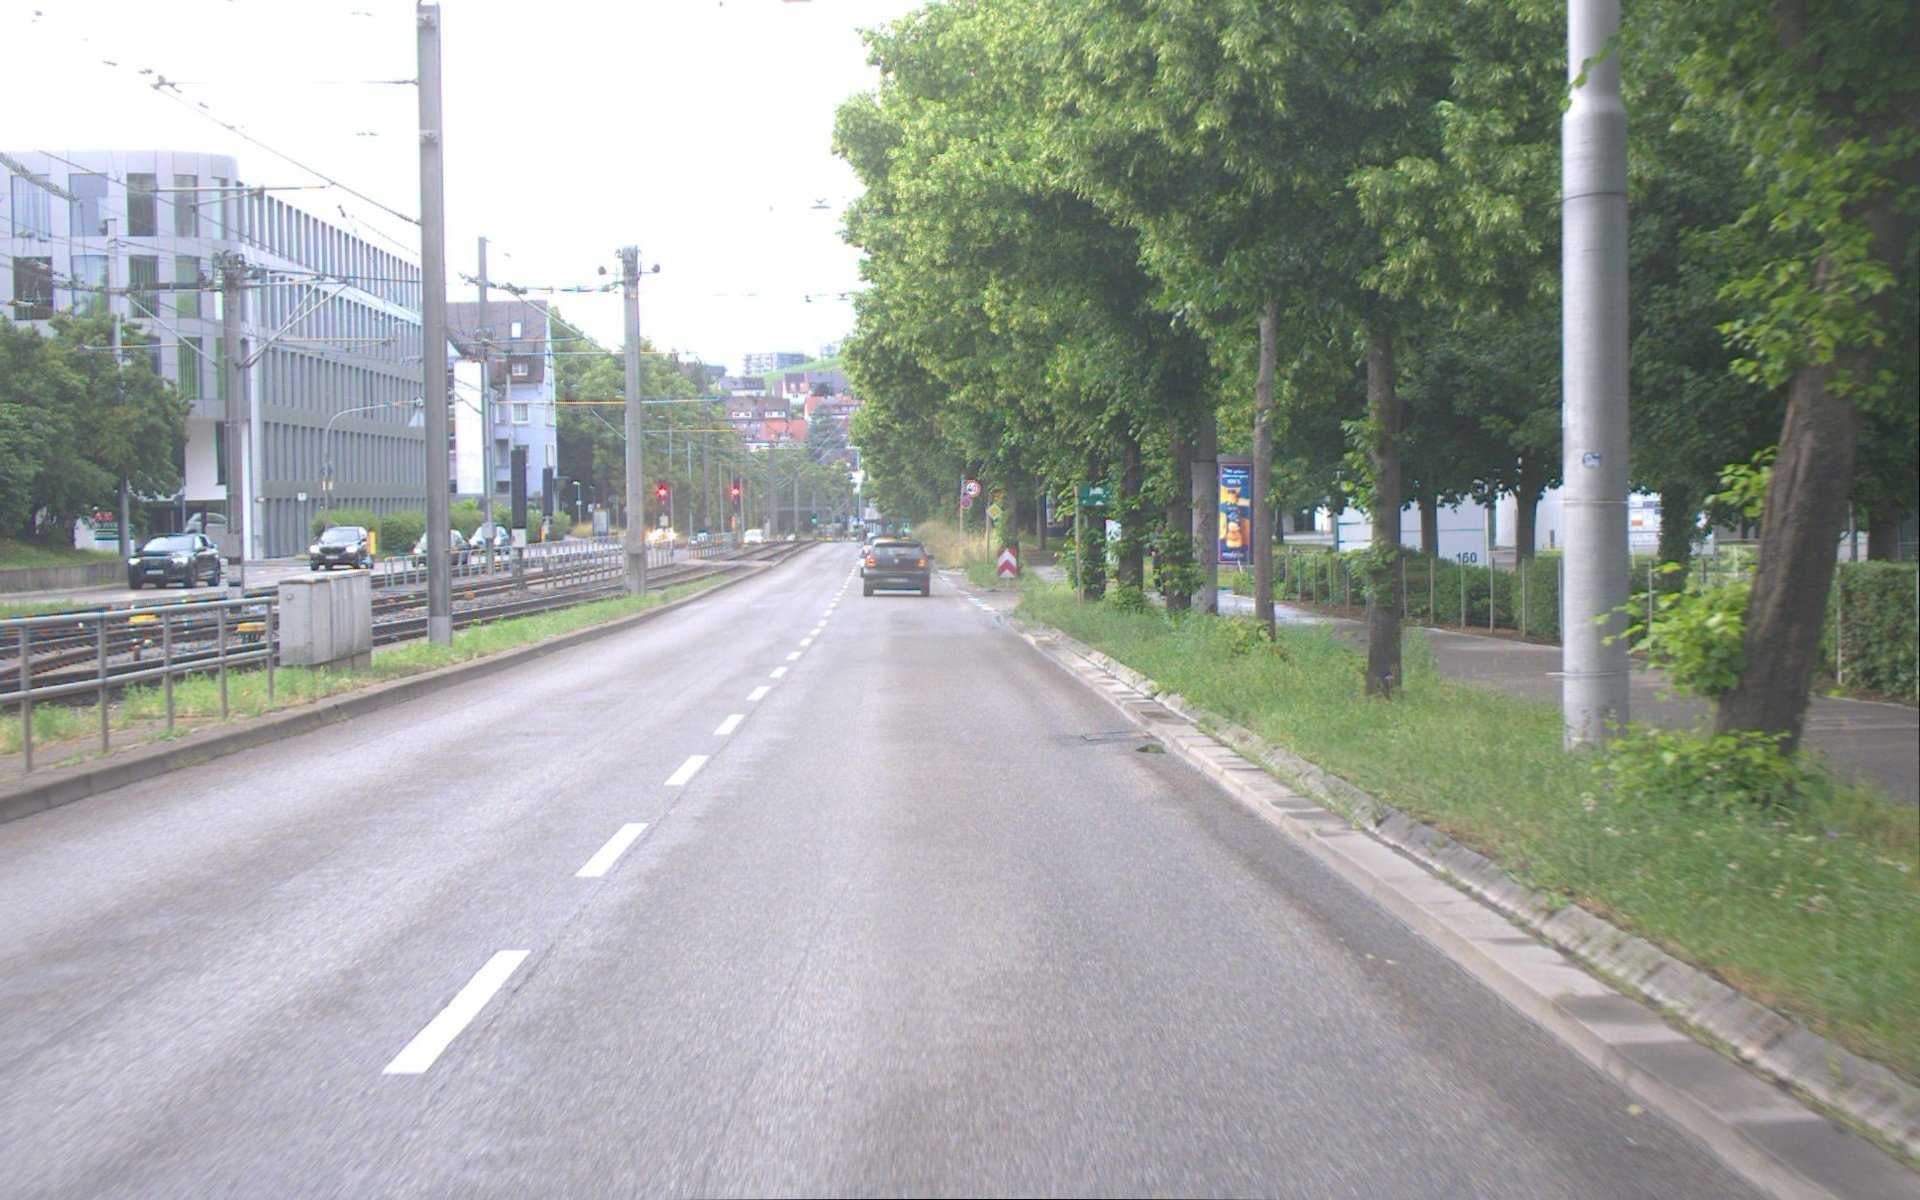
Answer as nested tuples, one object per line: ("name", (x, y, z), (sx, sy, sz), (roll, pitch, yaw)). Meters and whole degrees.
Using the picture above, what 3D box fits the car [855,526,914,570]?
("car", (-2.611, -1.808, 118.944), (1.982, 1.435, 4.474), (-1, 2, -1))

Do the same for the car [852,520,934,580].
("car", (-1.682, -1.282, 86.943), (1.982, 1.435, 4.474), (-1, 2, -1))

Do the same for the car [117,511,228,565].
("car", (-24.296, -1.928, 106.198), (2.089, 1.583, 5.158), (-1, 2, 2))

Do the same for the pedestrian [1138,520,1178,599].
("pedestrian", (4.513, -0.927, 78.430), (0.826, 1.791, 0.868), (0, 1, 0))

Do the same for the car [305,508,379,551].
("car", (-23.774, -2.713, 132.392), (1.948, 1.590, 4.848), (-1, 2, 0))

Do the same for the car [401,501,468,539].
("car", (-21.127, -3.227, 138.279), (1.891, 1.481, 4.308), (-1, 2, 2))
